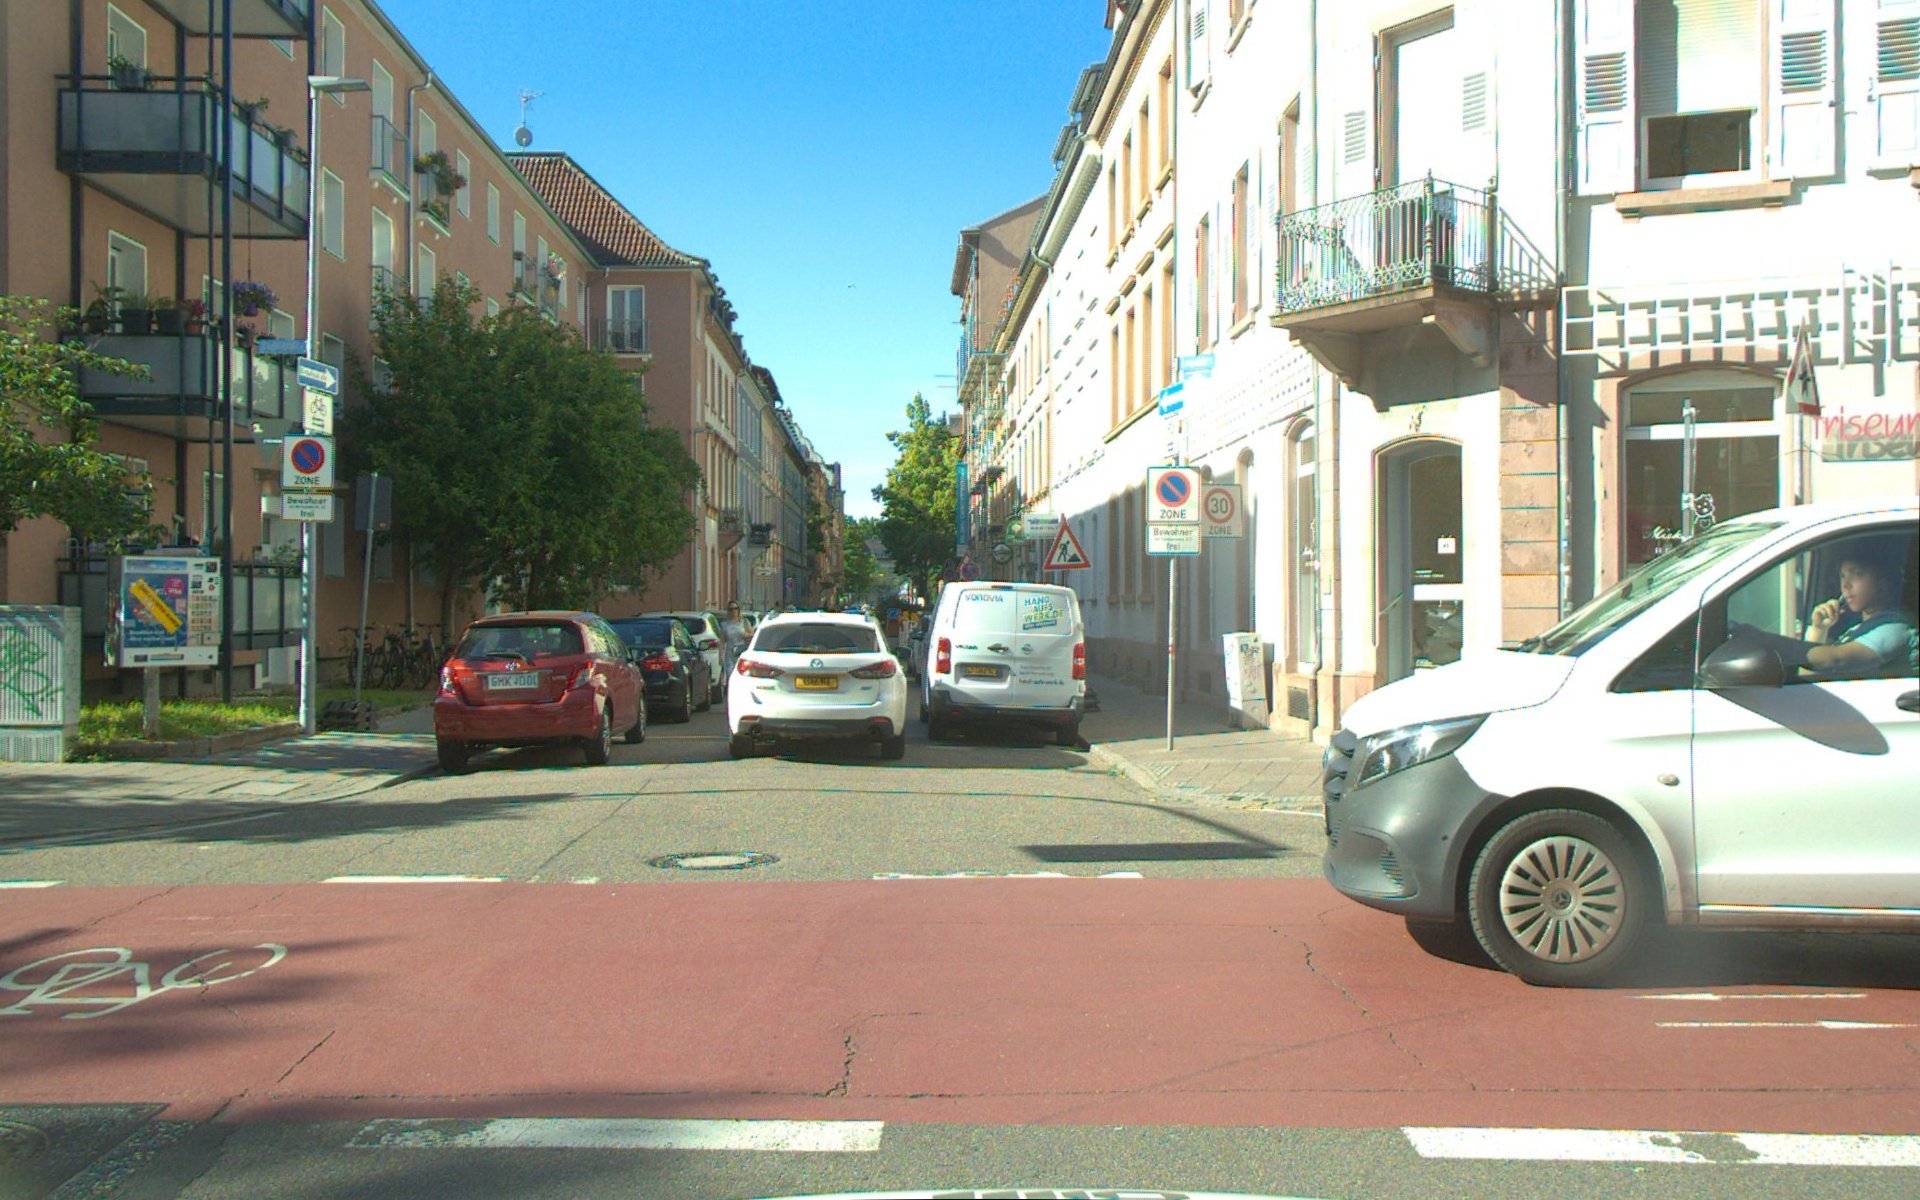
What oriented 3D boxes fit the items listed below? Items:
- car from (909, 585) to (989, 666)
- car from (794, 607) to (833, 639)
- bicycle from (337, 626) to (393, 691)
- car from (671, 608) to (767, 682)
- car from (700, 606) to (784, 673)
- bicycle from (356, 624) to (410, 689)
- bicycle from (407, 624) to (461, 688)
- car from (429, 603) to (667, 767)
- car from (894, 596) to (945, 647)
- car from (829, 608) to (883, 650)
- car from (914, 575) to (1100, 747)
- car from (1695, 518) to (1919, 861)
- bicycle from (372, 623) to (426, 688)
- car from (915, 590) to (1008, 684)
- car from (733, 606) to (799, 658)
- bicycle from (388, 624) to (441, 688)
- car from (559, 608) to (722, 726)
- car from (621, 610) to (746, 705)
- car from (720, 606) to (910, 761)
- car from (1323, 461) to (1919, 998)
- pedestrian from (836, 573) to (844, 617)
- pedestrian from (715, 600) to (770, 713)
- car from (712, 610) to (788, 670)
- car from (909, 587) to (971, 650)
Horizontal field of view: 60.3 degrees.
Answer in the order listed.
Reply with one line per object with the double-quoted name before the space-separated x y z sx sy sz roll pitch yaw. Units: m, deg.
"car" -0.305 0.605 40.597 1.856 1.892 3.993 0 0 -1
"car" -7.149 1.094 80.990 1.620 1.526 3.761 0 0 -1
"bicycle" -10.048 0.979 27.919 1.193 1.053 0.290 0 0 38
"car" -5.167 0.935 35.829 1.620 1.526 3.761 0 0 -1
"car" -5.219 0.920 39.967 1.620 1.526 3.761 0 0 -1
"bicycle" -9.842 0.955 28.206 1.193 1.091 0.265 0 0 38
"bicycle" -9.163 0.969 28.800 1.196 1.090 0.252 0 0 38
"car" -4.273 0.819 17.724 1.651 1.526 3.805 -1 0 -1
"car" -1.529 0.796 62.559 1.856 1.892 3.993 0 0 -1
"car" -3.643 0.996 58.357 1.725 1.435 4.326 0 0 -1
"car" 0.473 0.708 21.419 1.857 1.892 5.010 2 0 -4
"car" 7.281 0.521 10.075 4.904 1.980 2.052 0 0 18
"bicycle" -9.657 0.951 28.458 1.193 1.089 0.252 0 0 38
"car" -0.013 0.753 35.300 1.856 1.892 3.993 0 0 -1
"car" -5.822 0.936 49.963 1.620 1.526 3.761 0 0 -1
"bicycle" -9.472 0.963 28.683 1.193 1.090 0.252 0 0 38
"car" -4.450 0.880 23.568 1.620 1.526 4.078 0 0 -1
"car" -4.719 0.939 28.705 1.620 1.526 3.761 0 0 -1
"car" -1.445 0.831 17.795 1.794 1.483 3.960 0 -1 -2
"car" 4.250 0.470 6.896 5.291 1.941 2.110 0 0 11
"pedestrian" -5.600 -0.237 77.237 0.359 2.049 0.216 1 -1 -1
"pedestrian" -3.242 0.822 24.608 0.720 1.642 0.813 0 -1 -14
"car" -5.567 1.029 44.169 1.620 1.526 3.761 0 0 -1
"car" -0.668 0.568 52.810 1.856 1.892 3.993 -1 0 -1
